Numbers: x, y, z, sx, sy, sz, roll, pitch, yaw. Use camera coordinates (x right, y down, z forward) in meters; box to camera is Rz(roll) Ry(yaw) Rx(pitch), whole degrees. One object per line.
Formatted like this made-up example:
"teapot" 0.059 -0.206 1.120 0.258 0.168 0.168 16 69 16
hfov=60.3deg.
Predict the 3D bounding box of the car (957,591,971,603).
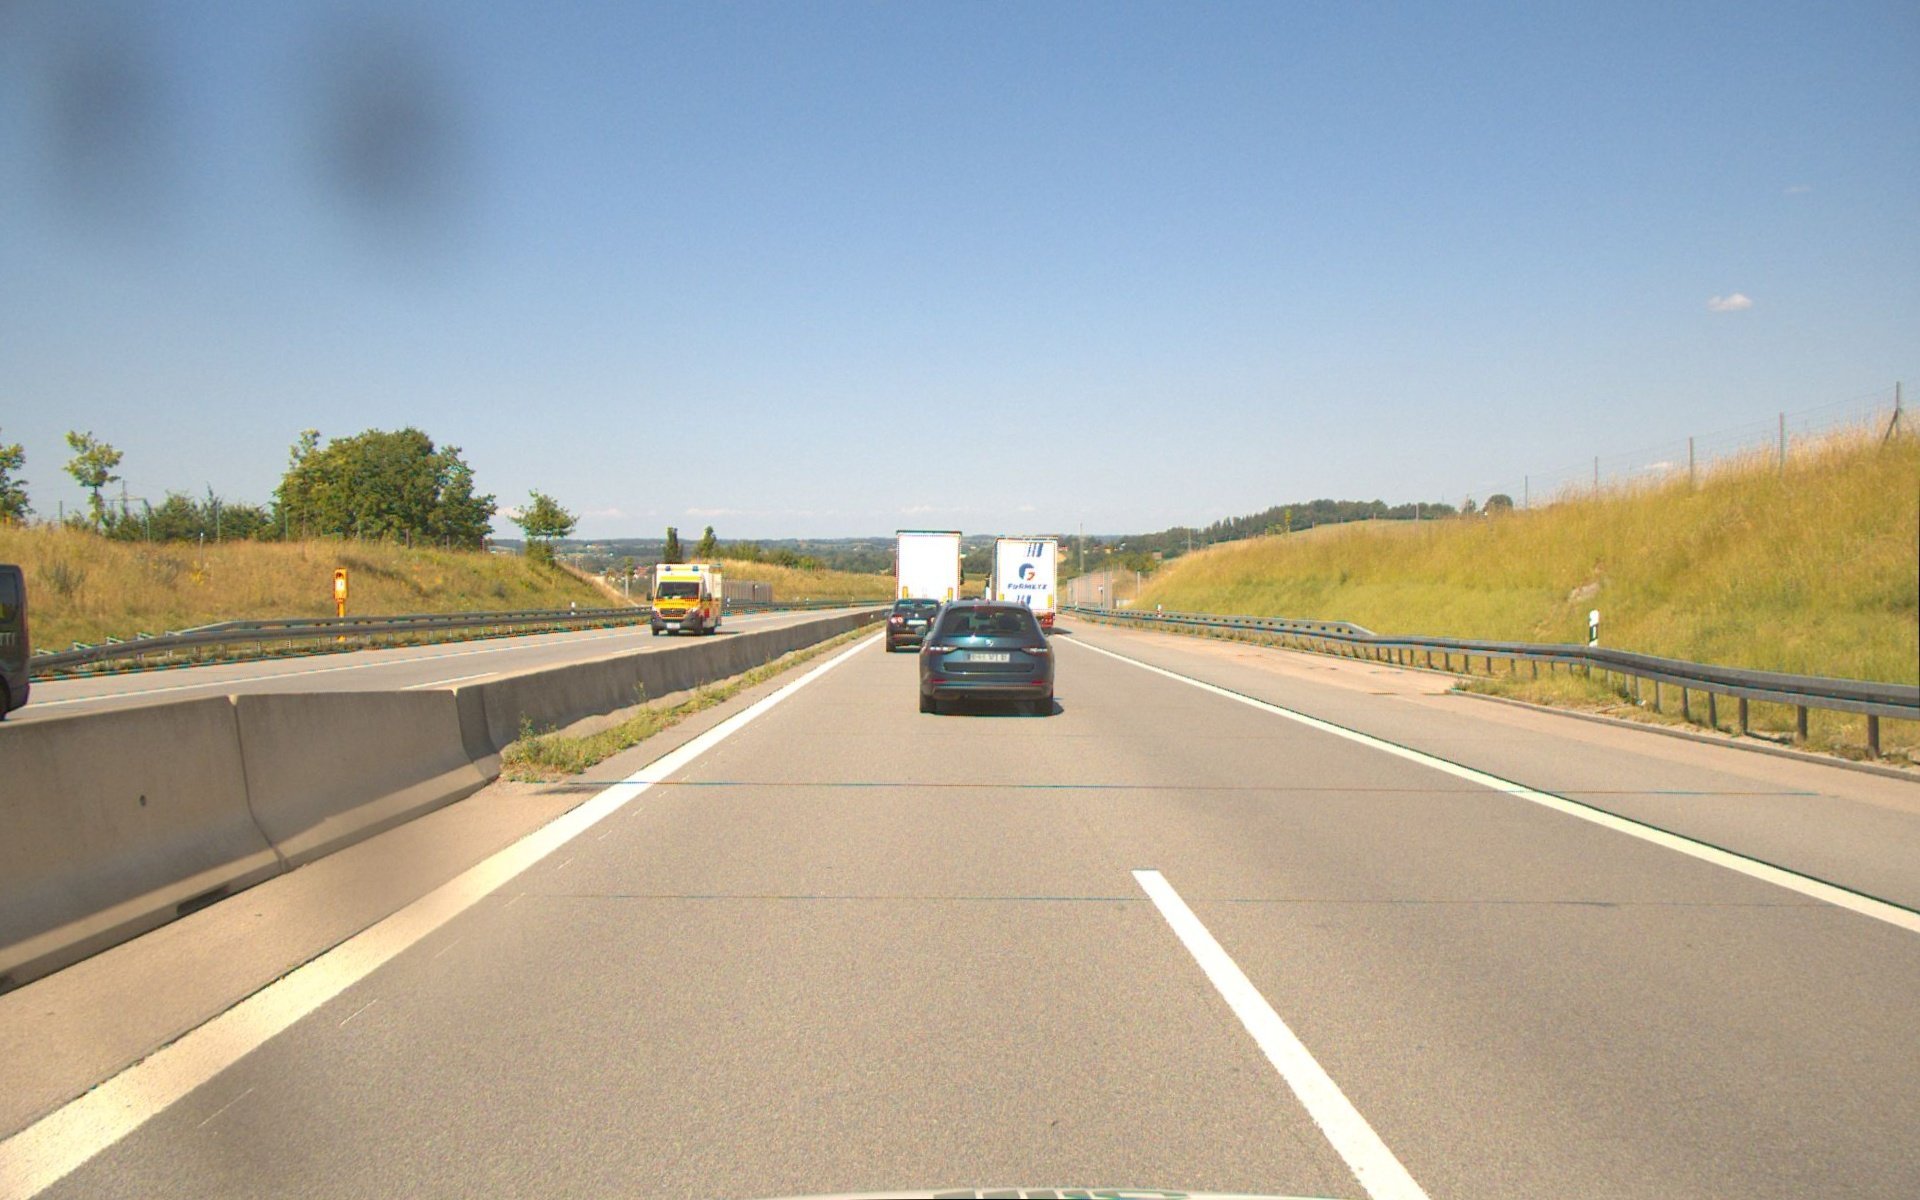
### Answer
"car" 0.490 -0.387 209.340 1.665 1.466 4.000 0 0 0

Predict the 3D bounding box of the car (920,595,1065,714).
"car" 0.359 0.677 22.464 1.741 1.466 3.787 0 0 -2

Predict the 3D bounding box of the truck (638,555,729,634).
"truck" -11.302 -0.219 68.246 2.718 3.074 6.791 0 0 -1

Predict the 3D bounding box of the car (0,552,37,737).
"car" -11.553 0.485 16.492 1.953 2.049 4.969 1 0 -1

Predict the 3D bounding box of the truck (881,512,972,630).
"truck" -1.258 -1.171 69.931 3.144 4.457 11.236 -2 0 2

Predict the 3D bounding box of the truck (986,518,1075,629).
"truck" 3.048 -1.110 73.958 3.530 4.457 11.235 -2 0 1

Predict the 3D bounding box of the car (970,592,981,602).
"car" 2.332 -0.452 251.920 1.665 1.466 4.000 0 0 0

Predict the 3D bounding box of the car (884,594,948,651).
"car" -1.244 0.597 46.078 1.666 1.466 3.998 -2 0 -2

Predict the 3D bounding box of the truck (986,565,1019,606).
"truck" 4.851 -1.664 188.728 3.530 4.457 11.235 -2 0 1
